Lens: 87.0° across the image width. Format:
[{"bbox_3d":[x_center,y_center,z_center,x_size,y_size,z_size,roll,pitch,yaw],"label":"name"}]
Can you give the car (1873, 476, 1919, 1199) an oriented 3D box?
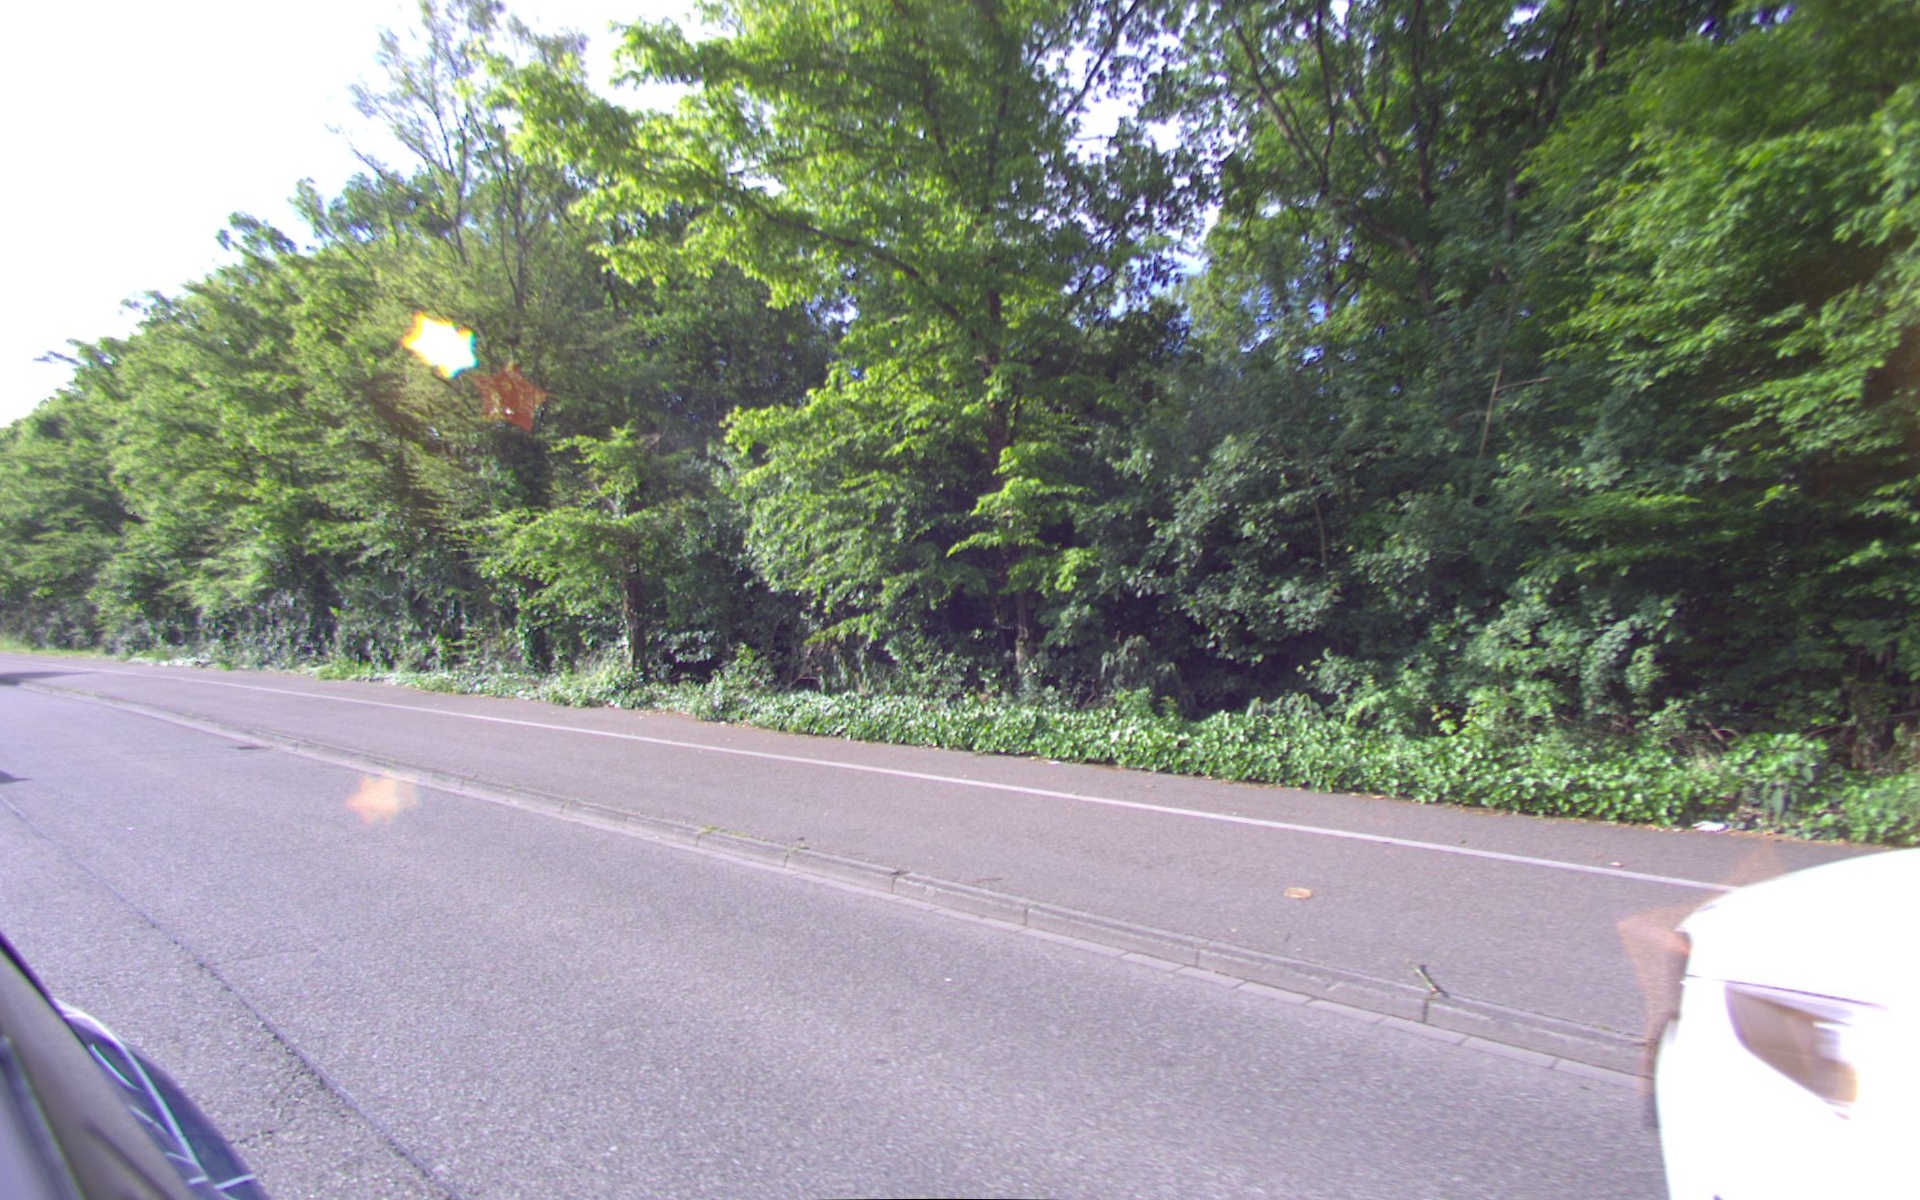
[{"bbox_3d":[3.471,0.635,0.727,4.100,1.597,1.783,-1,-4,41],"label":"car"}]
